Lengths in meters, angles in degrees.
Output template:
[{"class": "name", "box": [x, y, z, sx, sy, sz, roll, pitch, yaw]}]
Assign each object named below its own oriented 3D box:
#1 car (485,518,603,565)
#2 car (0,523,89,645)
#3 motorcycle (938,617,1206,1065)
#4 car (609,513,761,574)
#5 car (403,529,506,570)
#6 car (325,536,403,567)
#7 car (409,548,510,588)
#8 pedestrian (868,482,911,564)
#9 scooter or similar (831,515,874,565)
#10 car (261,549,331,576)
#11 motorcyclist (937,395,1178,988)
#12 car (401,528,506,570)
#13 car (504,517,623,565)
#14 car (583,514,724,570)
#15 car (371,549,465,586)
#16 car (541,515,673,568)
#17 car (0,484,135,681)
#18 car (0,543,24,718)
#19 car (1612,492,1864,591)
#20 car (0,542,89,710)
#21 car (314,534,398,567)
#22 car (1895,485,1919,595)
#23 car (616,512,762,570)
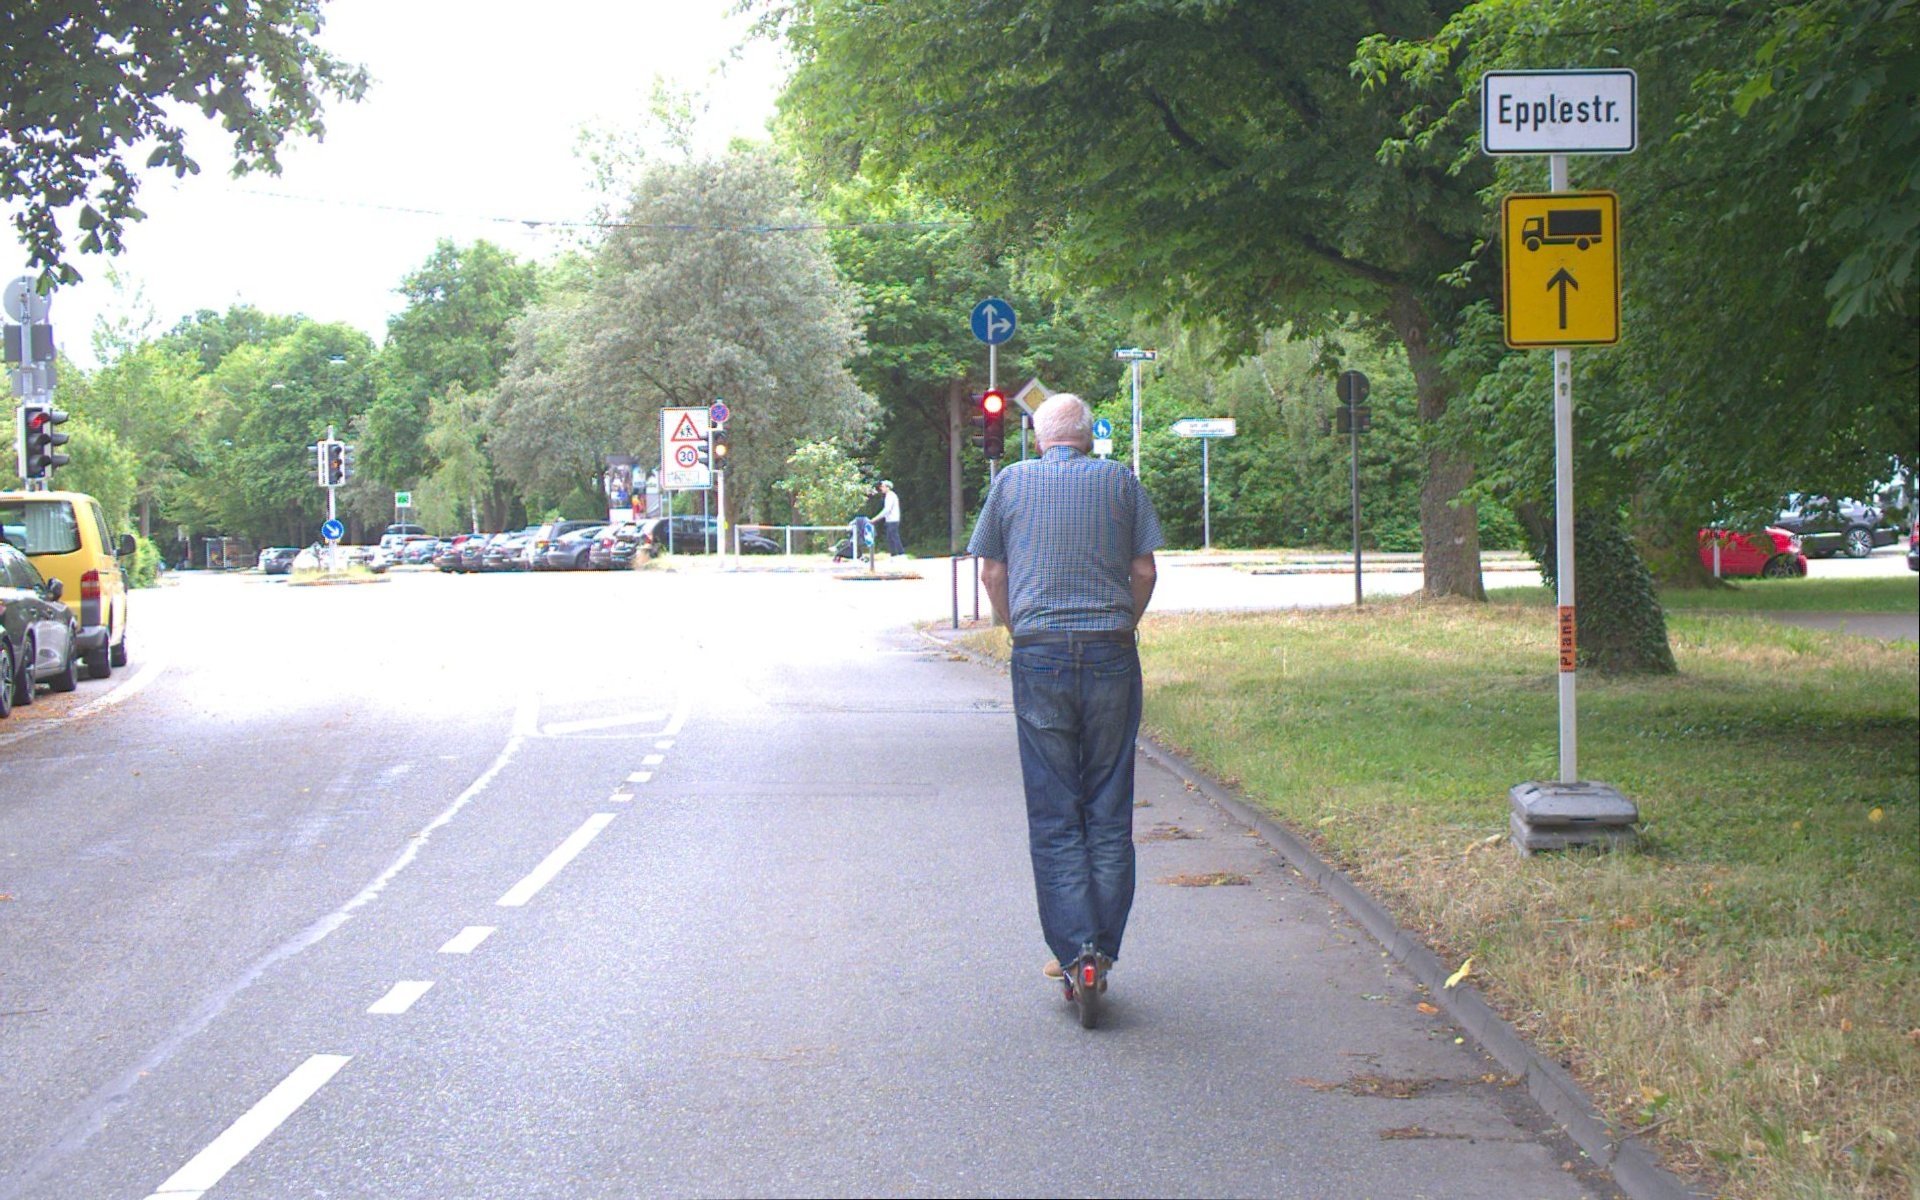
[{"class": "car", "box": [-14.490, -2.035, 119.664, 3.986, 1.505, 1.800, -2, 1, -7]}, {"class": "car", "box": [-13.565, -0.197, 45.105, 3.986, 1.505, 1.801, -1, 3, -10]}, {"class": "motorcycle", "box": [0.309, 0.677, 10.246, 0.672, 1.213, 1.274, 0, 1, -4]}, {"class": "car", "box": [-7.488, -1.550, 93.552, 3.986, 1.505, 1.800, -2, 1, -7]}, {"class": "car", "box": [-20.184, -2.041, 137.400, 3.986, 1.505, 1.800, -2, 1, -7]}, {"class": "car", "box": [-31.859, -2.595, 183.892, 3.986, 1.505, 1.800, -2, 1, -7]}, {"class": "car", "box": [-20.346, -1.304, 139.872, 3.986, 1.505, 1.800, -2, 1, -7]}, {"class": "pedestrian", "box": [-1.528, -1.674, 74.531, 0.732, 1.755, 0.661, -1, 1, 14]}, {"class": "scooter or similar", "box": [-2.337, -1.304, 74.713, 0.710, 1.045, 0.787, -1, 1, 14]}, {"class": "car", "box": [-39.713, -2.248, 205.651, 3.986, 1.505, 1.800, -2, 1, -7]}, {"class": "motorcyclist", "box": [0.288, 0.266, 10.522, 0.672, 1.755, 0.639, 0, 1, -4]}, {"class": "car", "box": [-19.676, -1.979, 133.671, 3.986, 1.505, 1.800, -2, 1, -7]}, {"class": "car", "box": [-13.590, -2.021, 117.833, 3.986, 1.505, 1.800, -2, 1, -7]}, {"class": "car", "box": [-8.982, -1.708, 100.590, 3.986, 1.505, 1.800, -2, 1, -7]}, {"class": "car", "box": [-23.850, -1.442, 151.308, 3.986, 1.505, 1.800, -2, 1, -7]}, {"class": "car", "box": [-11.025, -1.823, 107.286, 3.986, 1.505, 1.800, -2, 1, -7]}, {"class": "car", "box": [-10.005, -0.195, 37.025, 1.857, 1.957, 4.506, -2, 1, -10]}, {"class": "car", "box": [-8.558, 0.292, 26.202, 1.891, 1.405, 4.555, -2, 1, -4]}, {"class": "car", "box": [13.071, -1.001, 57.968, 3.988, 1.551, 1.800, 0, 4, 8]}, {"class": "car", "box": [-9.209, 0.211, 31.431, 1.794, 1.411, 4.190, -2, 1, -6]}, {"class": "car", "box": [-30.250, -2.490, 172.292, 3.986, 1.505, 1.800, -2, 1, -7]}, {"class": "car", "box": [17.599, -0.972, 56.767, 3.991, 1.720, 1.799, 2, 5, 20]}, {"class": "car", "box": [-7.678, -1.664, 97.126, 3.986, 1.505, 1.800, -2, 1, -7]}]
